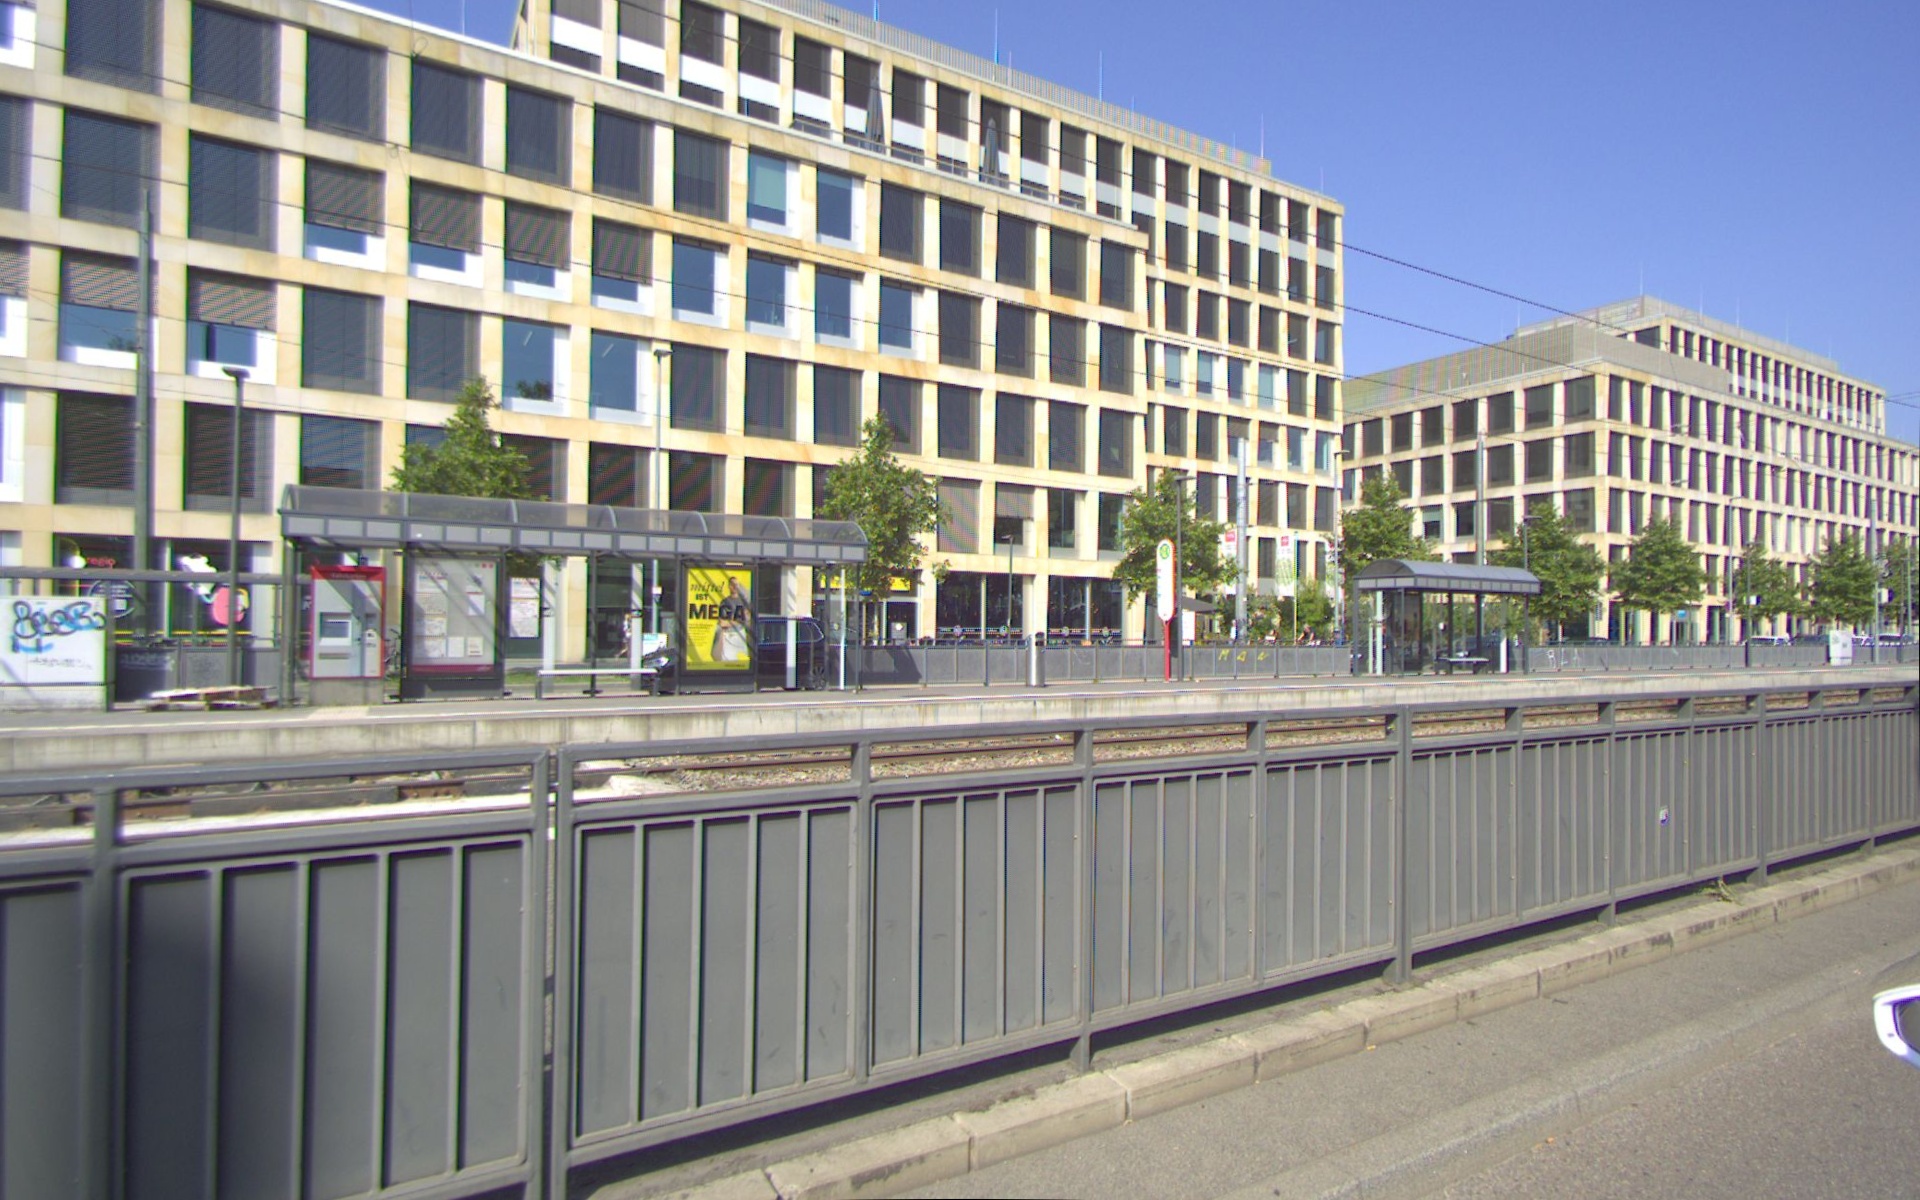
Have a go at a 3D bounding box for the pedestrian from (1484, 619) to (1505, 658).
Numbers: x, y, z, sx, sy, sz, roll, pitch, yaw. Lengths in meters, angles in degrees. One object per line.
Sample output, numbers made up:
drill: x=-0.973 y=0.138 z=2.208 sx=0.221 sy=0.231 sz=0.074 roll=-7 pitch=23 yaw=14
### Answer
pedestrian: x=28.455 y=2.051 z=53.493 sx=0.813 sy=2.039 sz=0.560 roll=3 pitch=-5 yaw=-31

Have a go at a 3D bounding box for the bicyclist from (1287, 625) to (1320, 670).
bicyclist: x=11.287 y=1.573 z=33.015 sx=0.775 sy=1.420 sz=0.626 roll=3 pitch=-5 yaw=-31

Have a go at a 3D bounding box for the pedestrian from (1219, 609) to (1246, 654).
pedestrian: x=12.293 y=1.429 z=45.342 sx=0.830 sy=1.941 sz=0.788 roll=3 pitch=-6 yaw=-36

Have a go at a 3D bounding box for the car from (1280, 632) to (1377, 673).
car: x=13.352 y=1.880 z=36.347 sx=3.468 sy=1.447 sz=1.544 roll=2 pitch=-2 yaw=-33

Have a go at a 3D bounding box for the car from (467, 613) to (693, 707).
car: x=-7.021 y=1.065 z=18.635 sx=3.715 sy=1.591 sz=1.654 roll=1 pitch=-2 yaw=-30

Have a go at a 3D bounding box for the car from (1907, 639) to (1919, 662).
car: x=67.768 y=3.521 z=69.909 sx=4.087 sy=1.624 sz=1.754 roll=2 pitch=-3 yaw=-32
